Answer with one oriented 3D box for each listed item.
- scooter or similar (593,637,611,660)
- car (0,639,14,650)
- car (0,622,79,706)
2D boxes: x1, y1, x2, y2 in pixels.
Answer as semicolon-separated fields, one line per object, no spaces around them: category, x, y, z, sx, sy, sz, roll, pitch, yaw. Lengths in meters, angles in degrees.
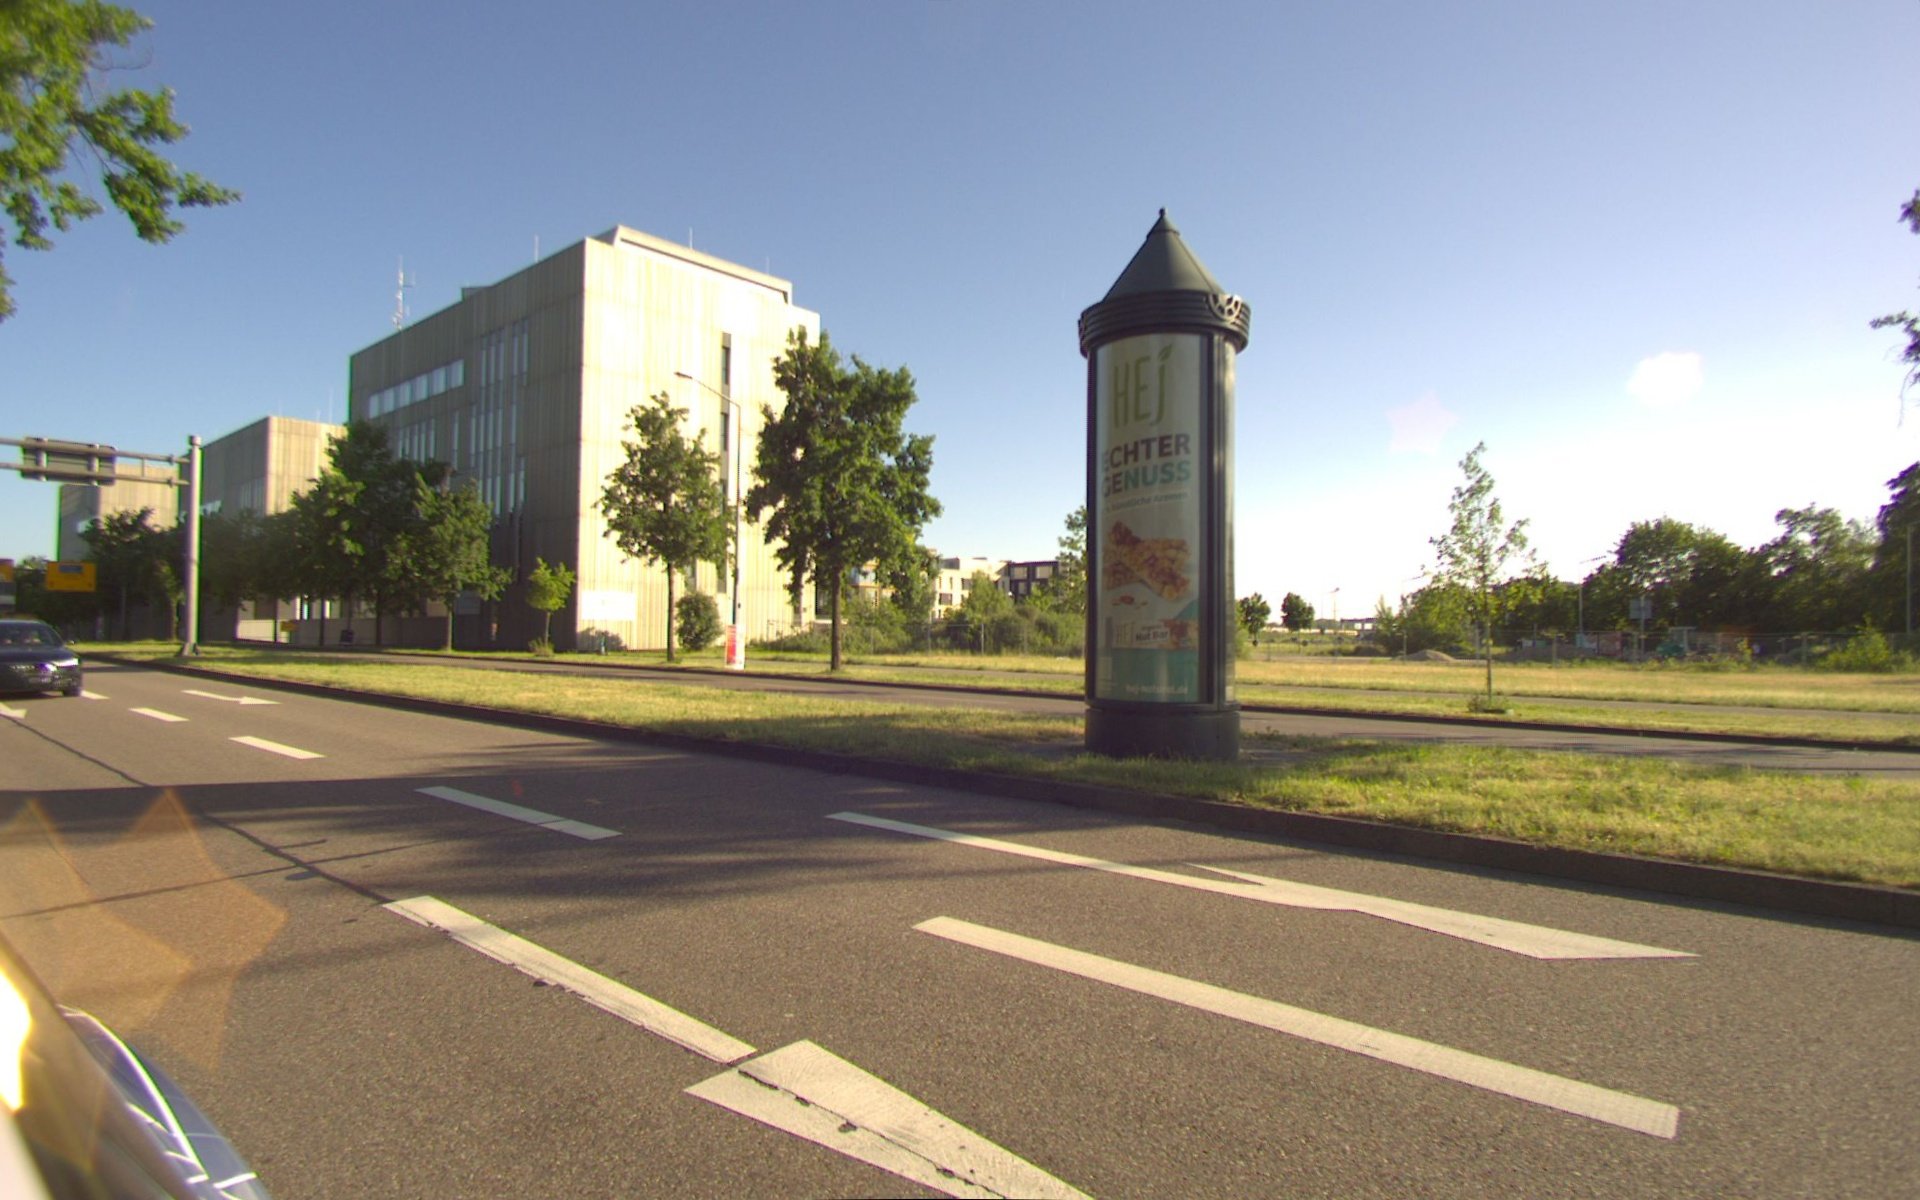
scooter or similar;-17.503;2.367;49.513;0.446;1.119;1.409;2;-3;-35
car;-138.255;6.442;146.221;3.998;1.604;1.972;-1;-3;41
car;-18.471;1.161;19.370;5.015;1.454;1.774;-1;-2;41
